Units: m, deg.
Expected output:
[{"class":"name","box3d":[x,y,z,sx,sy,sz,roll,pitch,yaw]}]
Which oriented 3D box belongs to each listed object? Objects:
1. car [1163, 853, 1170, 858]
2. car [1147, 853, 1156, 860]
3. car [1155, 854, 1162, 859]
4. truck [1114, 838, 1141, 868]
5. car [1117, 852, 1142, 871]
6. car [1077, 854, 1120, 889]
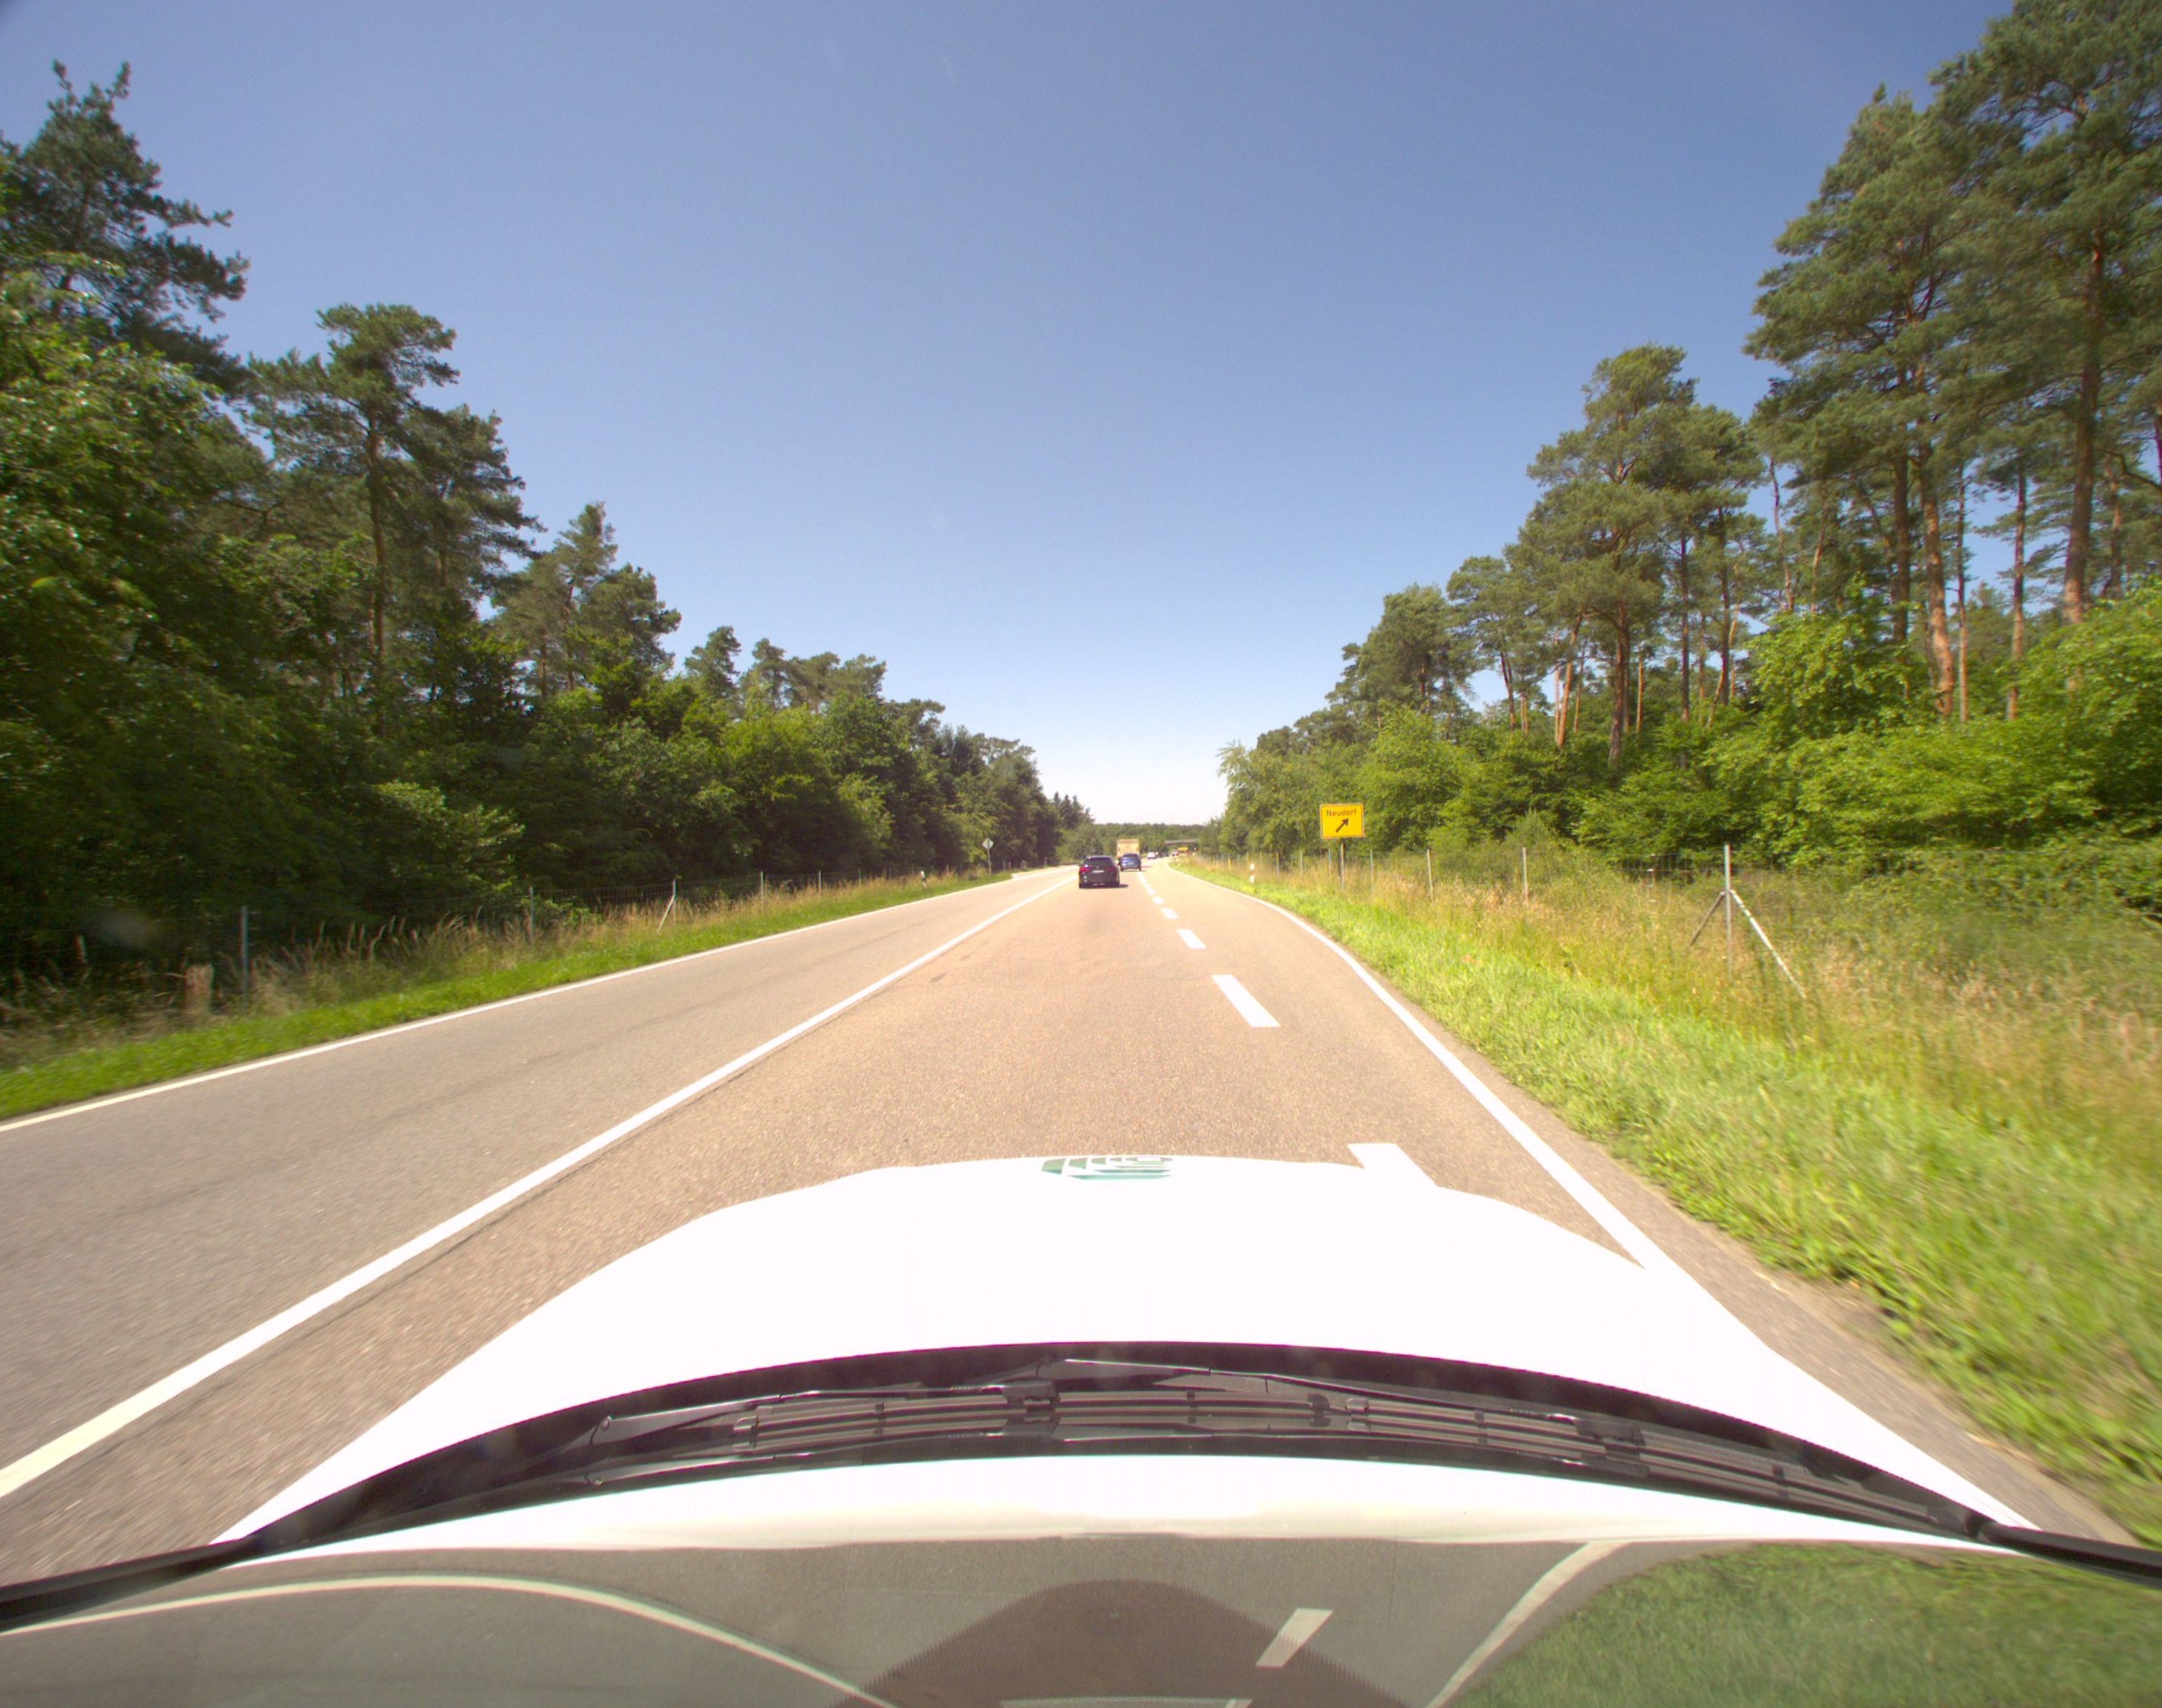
[{"class":"car","box3d":[26.066,0.418,249.336,1.983,1.636,4.007,-3,0,6]},{"class":"car","box3d":[16.753,0.579,193.847,1.855,1.605,4.003,-3,0,3]},{"class":"car","box3d":[21.273,0.665,222.894,1.984,1.420,4.006,-1,0,5]},{"class":"truck","box3d":[5.560,-0.104,96.322,2.952,3.387,6.446,-2,0,4]},{"class":"car","box3d":[4.227,0.651,71.984,1.941,1.541,4.000,-3,0,1]},{"class":"car","box3d":[0.774,0.776,38.176,1.815,1.470,3.998,-2,0,-1]}]
